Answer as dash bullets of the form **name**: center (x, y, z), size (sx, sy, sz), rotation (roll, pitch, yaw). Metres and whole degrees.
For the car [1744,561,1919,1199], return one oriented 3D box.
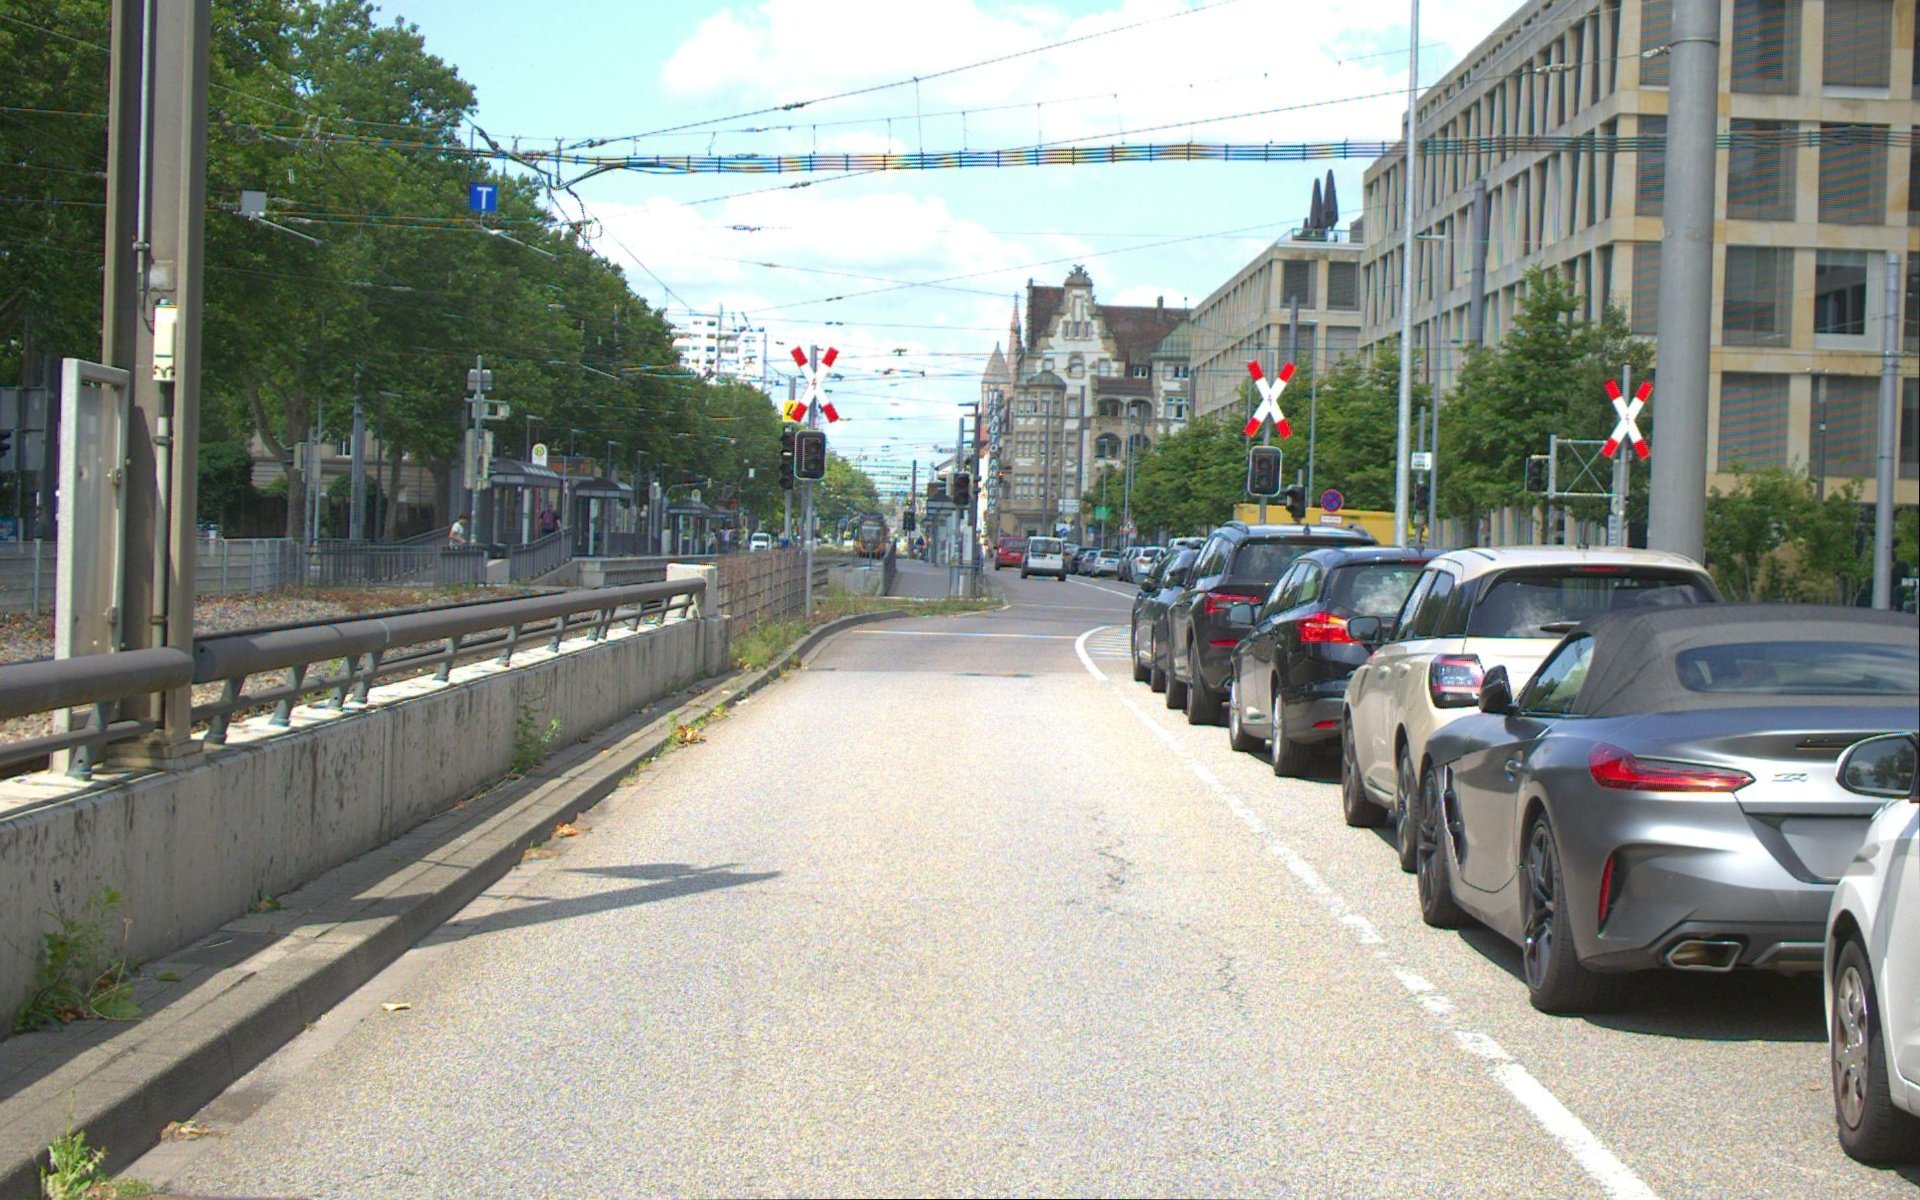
- **car**: center (2.931, 0.675, 7.285), size (1.707, 1.474, 3.789), rotation (1, 1, 1)

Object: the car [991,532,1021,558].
- **car**: center (2.588, -3.121, 194.528), size (1.443, 1.465, 4.093), rotation (0, 1, -2)

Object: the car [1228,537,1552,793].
- **car**: center (2.755, 0.349, 22.860), size (1.644, 1.525, 4.442), rotation (0, 1, 1)

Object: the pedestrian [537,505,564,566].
- **pedestrian**: center (-12.296, -1.932, 103.236), size (0.706, 1.839, 0.864), rotation (0, 1, -1)

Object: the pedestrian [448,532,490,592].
- **pedestrian**: center (-11.063, -0.854, 77.487), size (0.861, 1.339, 0.923), rotation (0, 1, -3)

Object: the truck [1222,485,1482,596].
- **truck**: center (10.908, -1.640, 96.015), size (6.805, 2.857, 2.455), rotation (2, 1, -3)

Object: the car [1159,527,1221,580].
- **car**: center (8.494, -1.738, 127.319), size (1.881, 1.932, 4.844), rotation (0, 1, -1)

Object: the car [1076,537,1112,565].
- **car**: center (7.478, -2.737, 192.235), size (1.591, 1.429, 4.108), rotation (4, 1, -3)

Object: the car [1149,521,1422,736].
- **car**: center (2.686, 0.174, 29.355), size (1.816, 1.656, 4.671), rotation (0, 2, -1)

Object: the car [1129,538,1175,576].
- **car**: center (8.274, -1.869, 148.088), size (1.685, 1.600, 4.152), rotation (0, 1, -1)

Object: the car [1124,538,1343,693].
- **car**: center (2.777, 0.108, 35.895), size (1.816, 1.449, 4.991), rotation (0, 2, -1)

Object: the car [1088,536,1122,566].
- **car**: center (7.632, -2.605, 181.121), size (1.591, 1.455, 3.613), rotation (3, 1, 0)

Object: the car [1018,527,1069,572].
- **car**: center (3.460, -2.105, 143.554), size (1.868, 1.740, 4.000), rotation (3, 1, -1)

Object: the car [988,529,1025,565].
- **car**: center (2.607, -3.002, 194.645), size (1.993, 2.007, 4.000), rotation (0, 1, 0)

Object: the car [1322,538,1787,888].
- **car**: center (2.781, 0.456, 16.852), size (1.669, 1.510, 3.851), rotation (0, 1, 1)

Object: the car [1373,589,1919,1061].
- **car**: center (2.696, 0.662, 12.337), size (1.824, 1.307, 4.443), rotation (1, 1, -1)
